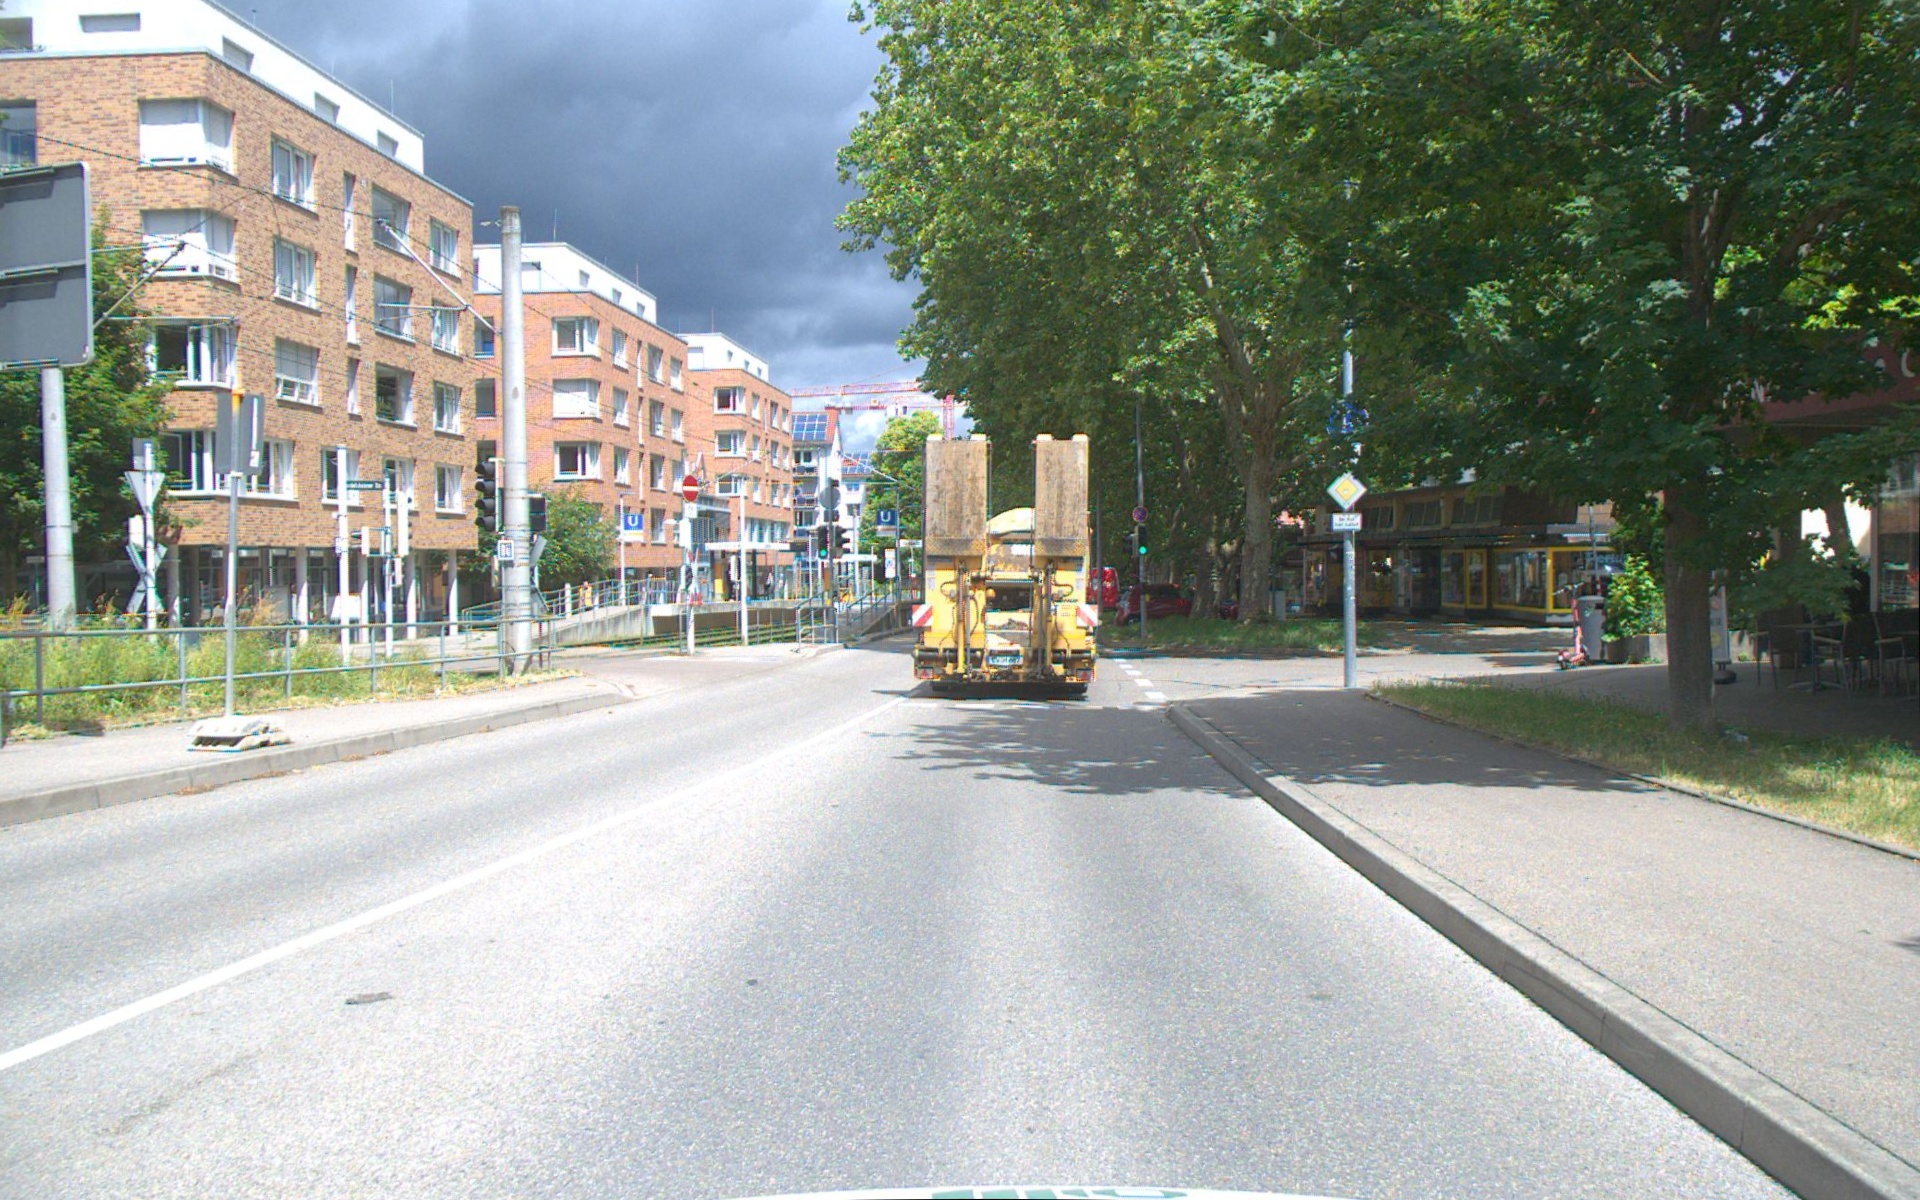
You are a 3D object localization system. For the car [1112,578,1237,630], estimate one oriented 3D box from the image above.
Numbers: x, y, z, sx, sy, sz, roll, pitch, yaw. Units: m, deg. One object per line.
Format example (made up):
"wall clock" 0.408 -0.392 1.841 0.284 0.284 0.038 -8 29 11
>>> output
"car" 6.864 0.105 53.157 3.902 1.537 2.002 0 3 6

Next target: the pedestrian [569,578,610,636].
"pedestrian" -13.354 0.234 59.646 1.113 2.049 0.999 -1 0 10

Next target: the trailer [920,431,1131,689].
"trailer" 1.231 -0.510 27.473 2.803 3.431 10.846 0 0 4

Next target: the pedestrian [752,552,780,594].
"pedestrian" -9.463 -1.319 80.762 1.113 2.049 0.999 -1 0 10

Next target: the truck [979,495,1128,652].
"truck" 2.025 -0.656 37.244 2.926 3.087 8.490 1 2 2

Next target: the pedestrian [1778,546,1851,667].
"pedestrian" 11.592 0.082 22.448 0.682 1.601 0.557 -1 0 -3

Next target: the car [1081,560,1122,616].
"car" 7.780 -0.716 90.613 1.951 2.876 5.119 3 2 7

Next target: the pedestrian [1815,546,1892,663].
"pedestrian" 11.821 0.050 21.888 0.682 1.514 0.557 -1 0 -3

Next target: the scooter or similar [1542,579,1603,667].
"scooter or similar" 9.410 0.335 25.375 0.508 1.247 1.727 0 2 33
